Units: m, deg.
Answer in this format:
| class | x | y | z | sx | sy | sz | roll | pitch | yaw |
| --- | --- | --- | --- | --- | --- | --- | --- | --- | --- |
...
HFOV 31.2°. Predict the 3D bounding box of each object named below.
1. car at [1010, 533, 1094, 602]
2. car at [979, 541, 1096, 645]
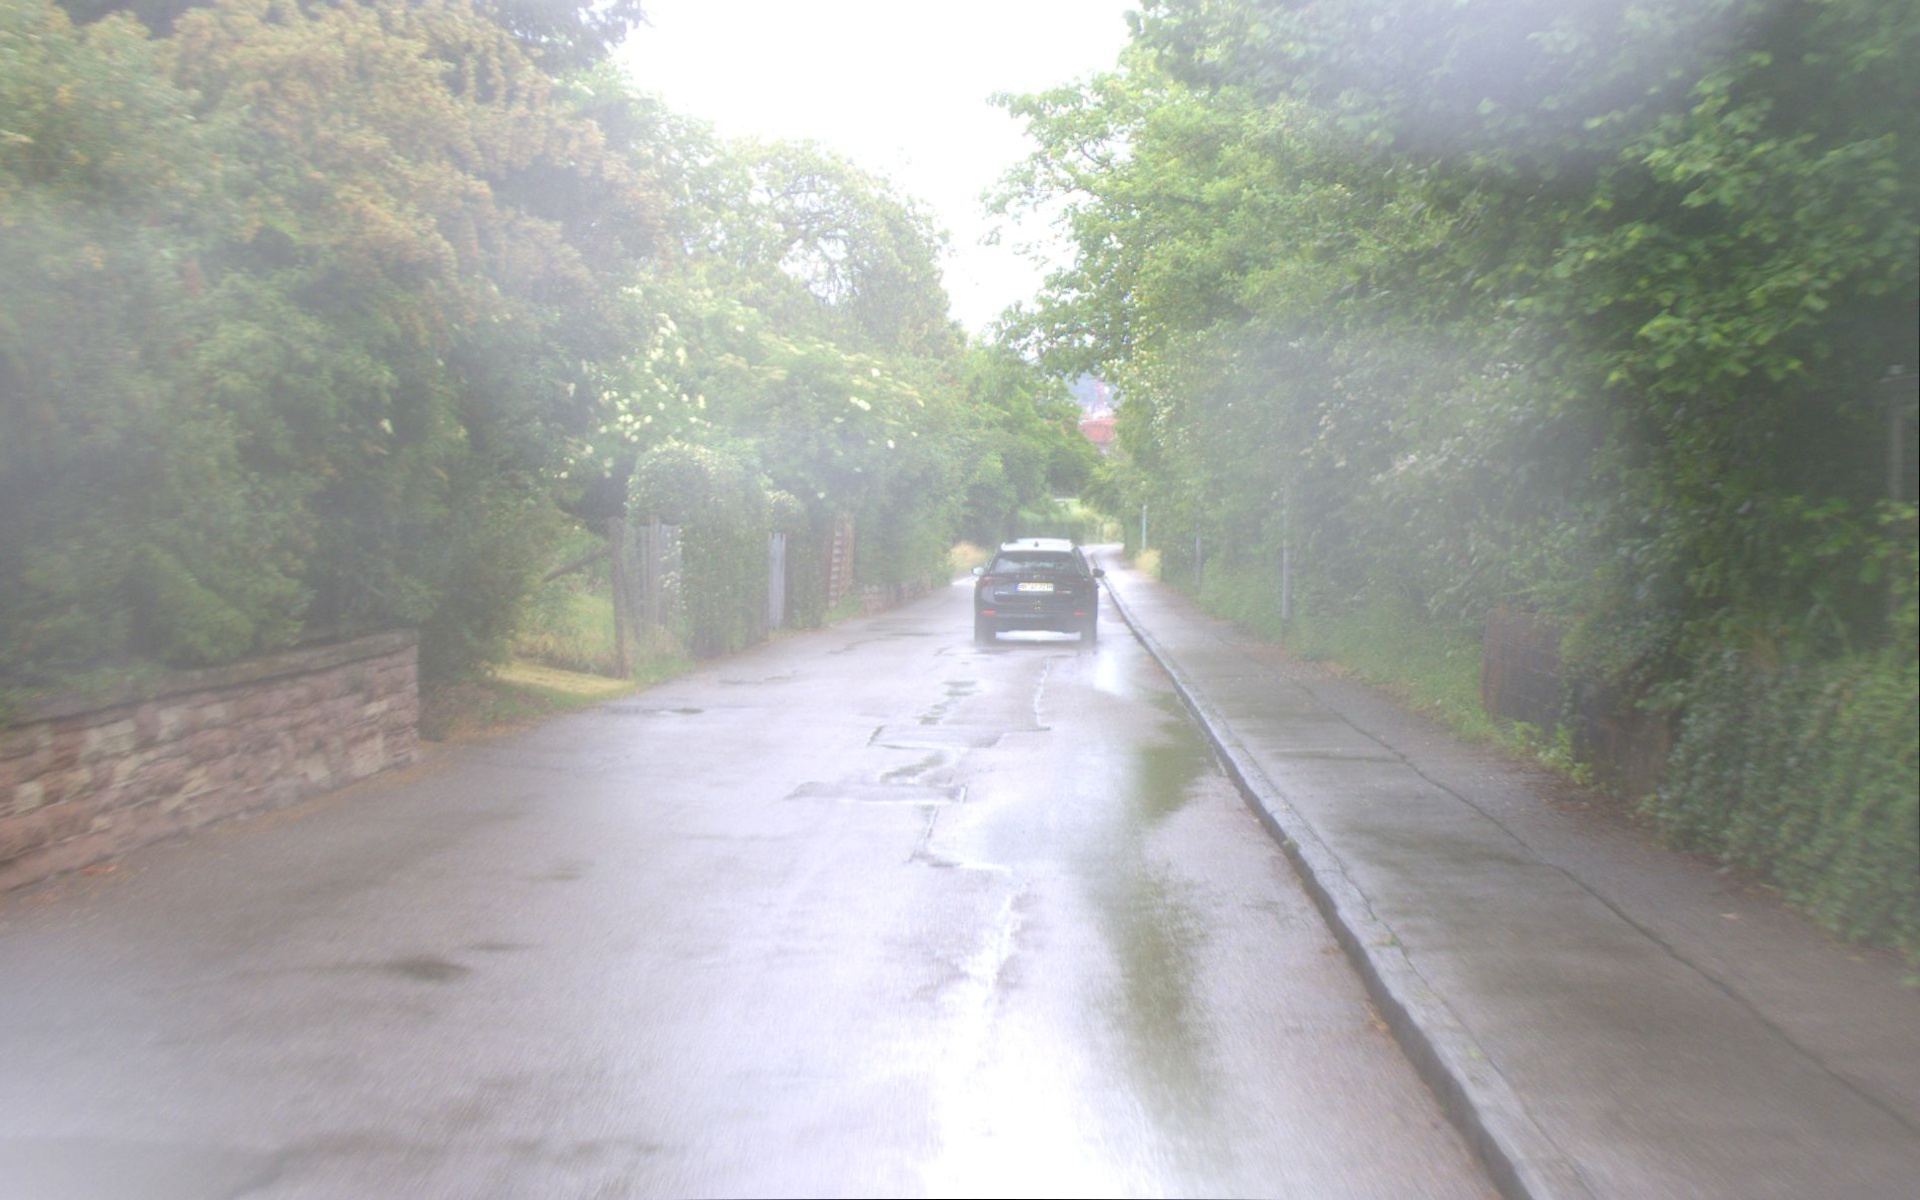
| class | x | y | z | sx | sy | sz | roll | pitch | yaw |
| --- | --- | --- | --- | --- | --- | --- | --- | --- | --- |
| car | 1.968 | -0.663 | 72.545 | 1.635 | 1.409 | 3.544 | 1 | 0 | 3 |
| car | 1.146 | -0.104 | 50.177 | 1.635 | 1.445 | 3.544 | 1 | 0 | 2 |
